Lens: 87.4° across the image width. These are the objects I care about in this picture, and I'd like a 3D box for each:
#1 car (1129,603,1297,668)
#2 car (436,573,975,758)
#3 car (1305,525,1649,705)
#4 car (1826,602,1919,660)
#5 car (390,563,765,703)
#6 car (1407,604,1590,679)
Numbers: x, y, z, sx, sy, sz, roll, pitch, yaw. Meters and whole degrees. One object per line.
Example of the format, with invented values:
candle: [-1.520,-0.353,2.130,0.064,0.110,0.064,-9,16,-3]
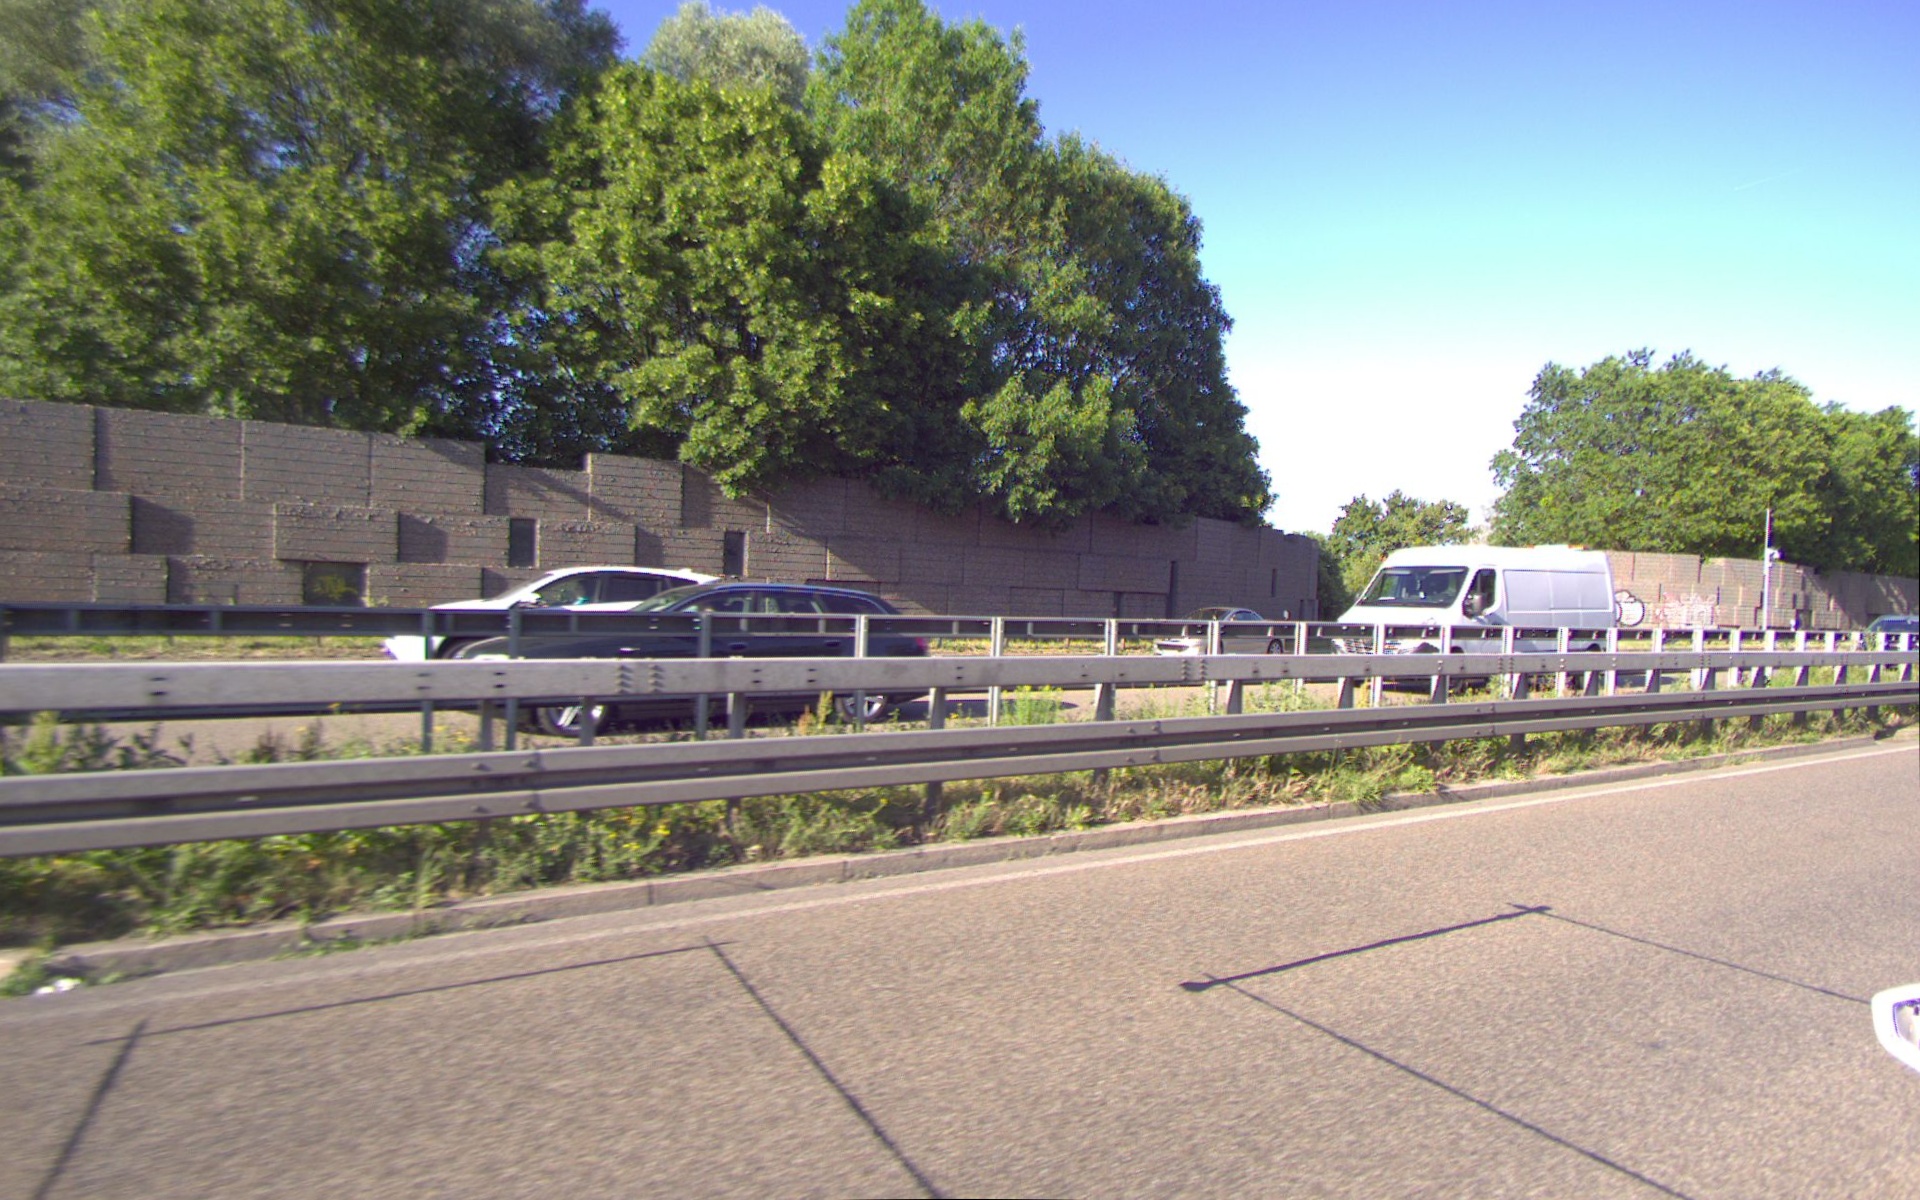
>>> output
car: [6.365,0.828,25.132,3.990,1.406,1.979,0,3,-36]
car: [-2.521,0.541,10.332,5.028,1.453,1.984,1,3,-30]
car: [9.231,0.203,17.724,6.509,2.720,2.111,1,3,-30]
car: [27.918,0.867,29.991,4.201,1.600,1.982,0,0,-32]
car: [-5.214,0.382,13.839,4.566,1.617,1.984,1,3,-30]
car: [13.571,0.982,25.252,4.642,1.642,1.891,1,3,-31]
